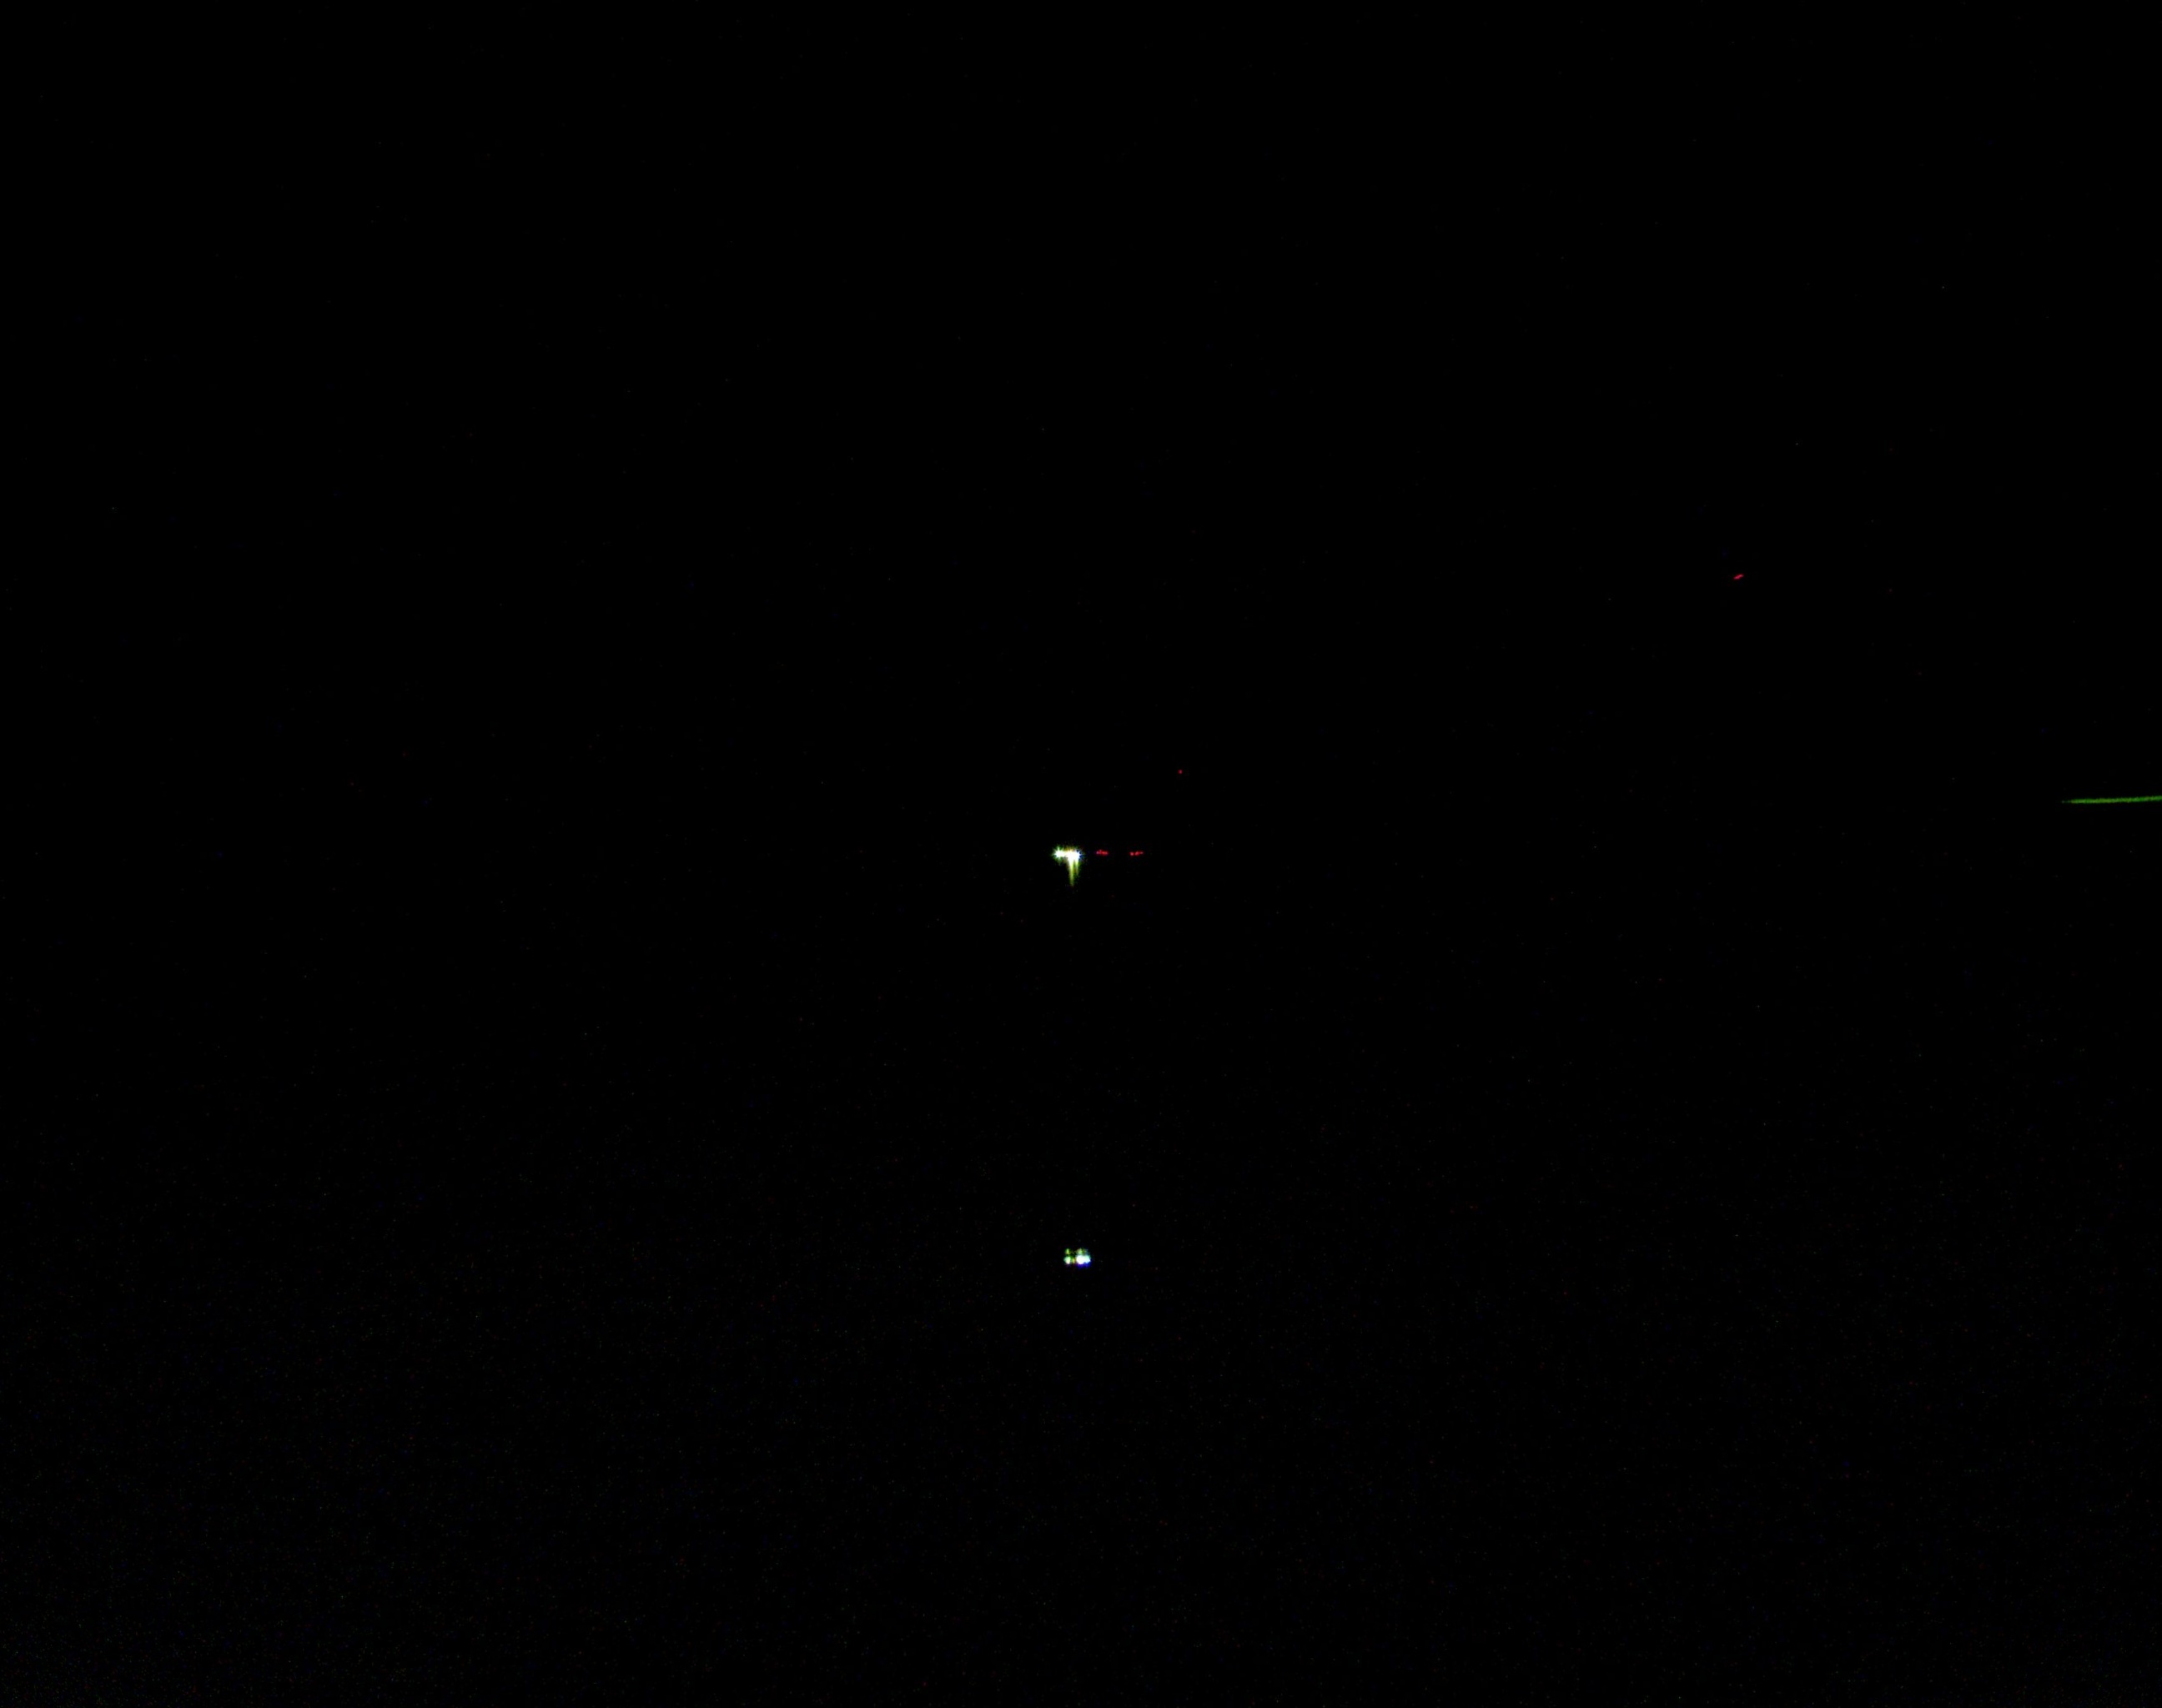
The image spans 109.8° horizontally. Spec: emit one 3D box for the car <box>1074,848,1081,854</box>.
[{"bbox_3d":[-1.028,-0.817,208.846,1.859,1.609,3.999,-2,1,0],"label":"car"}]

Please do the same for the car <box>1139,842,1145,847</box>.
[{"bbox_3d":[21.352,-3.315,266.875,1.796,1.471,3.999,-3,1,0],"label":"car"}]

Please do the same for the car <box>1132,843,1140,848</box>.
[{"bbox_3d":[16.858,-2.620,233.065,2.014,1.642,5.108,-3,1,0],"label":"car"}]

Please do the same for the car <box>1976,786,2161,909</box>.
[{"bbox_3d":[22.663,-0.178,14.902,2.397,2.438,6.669,-3,1,1],"label":"car"}]
